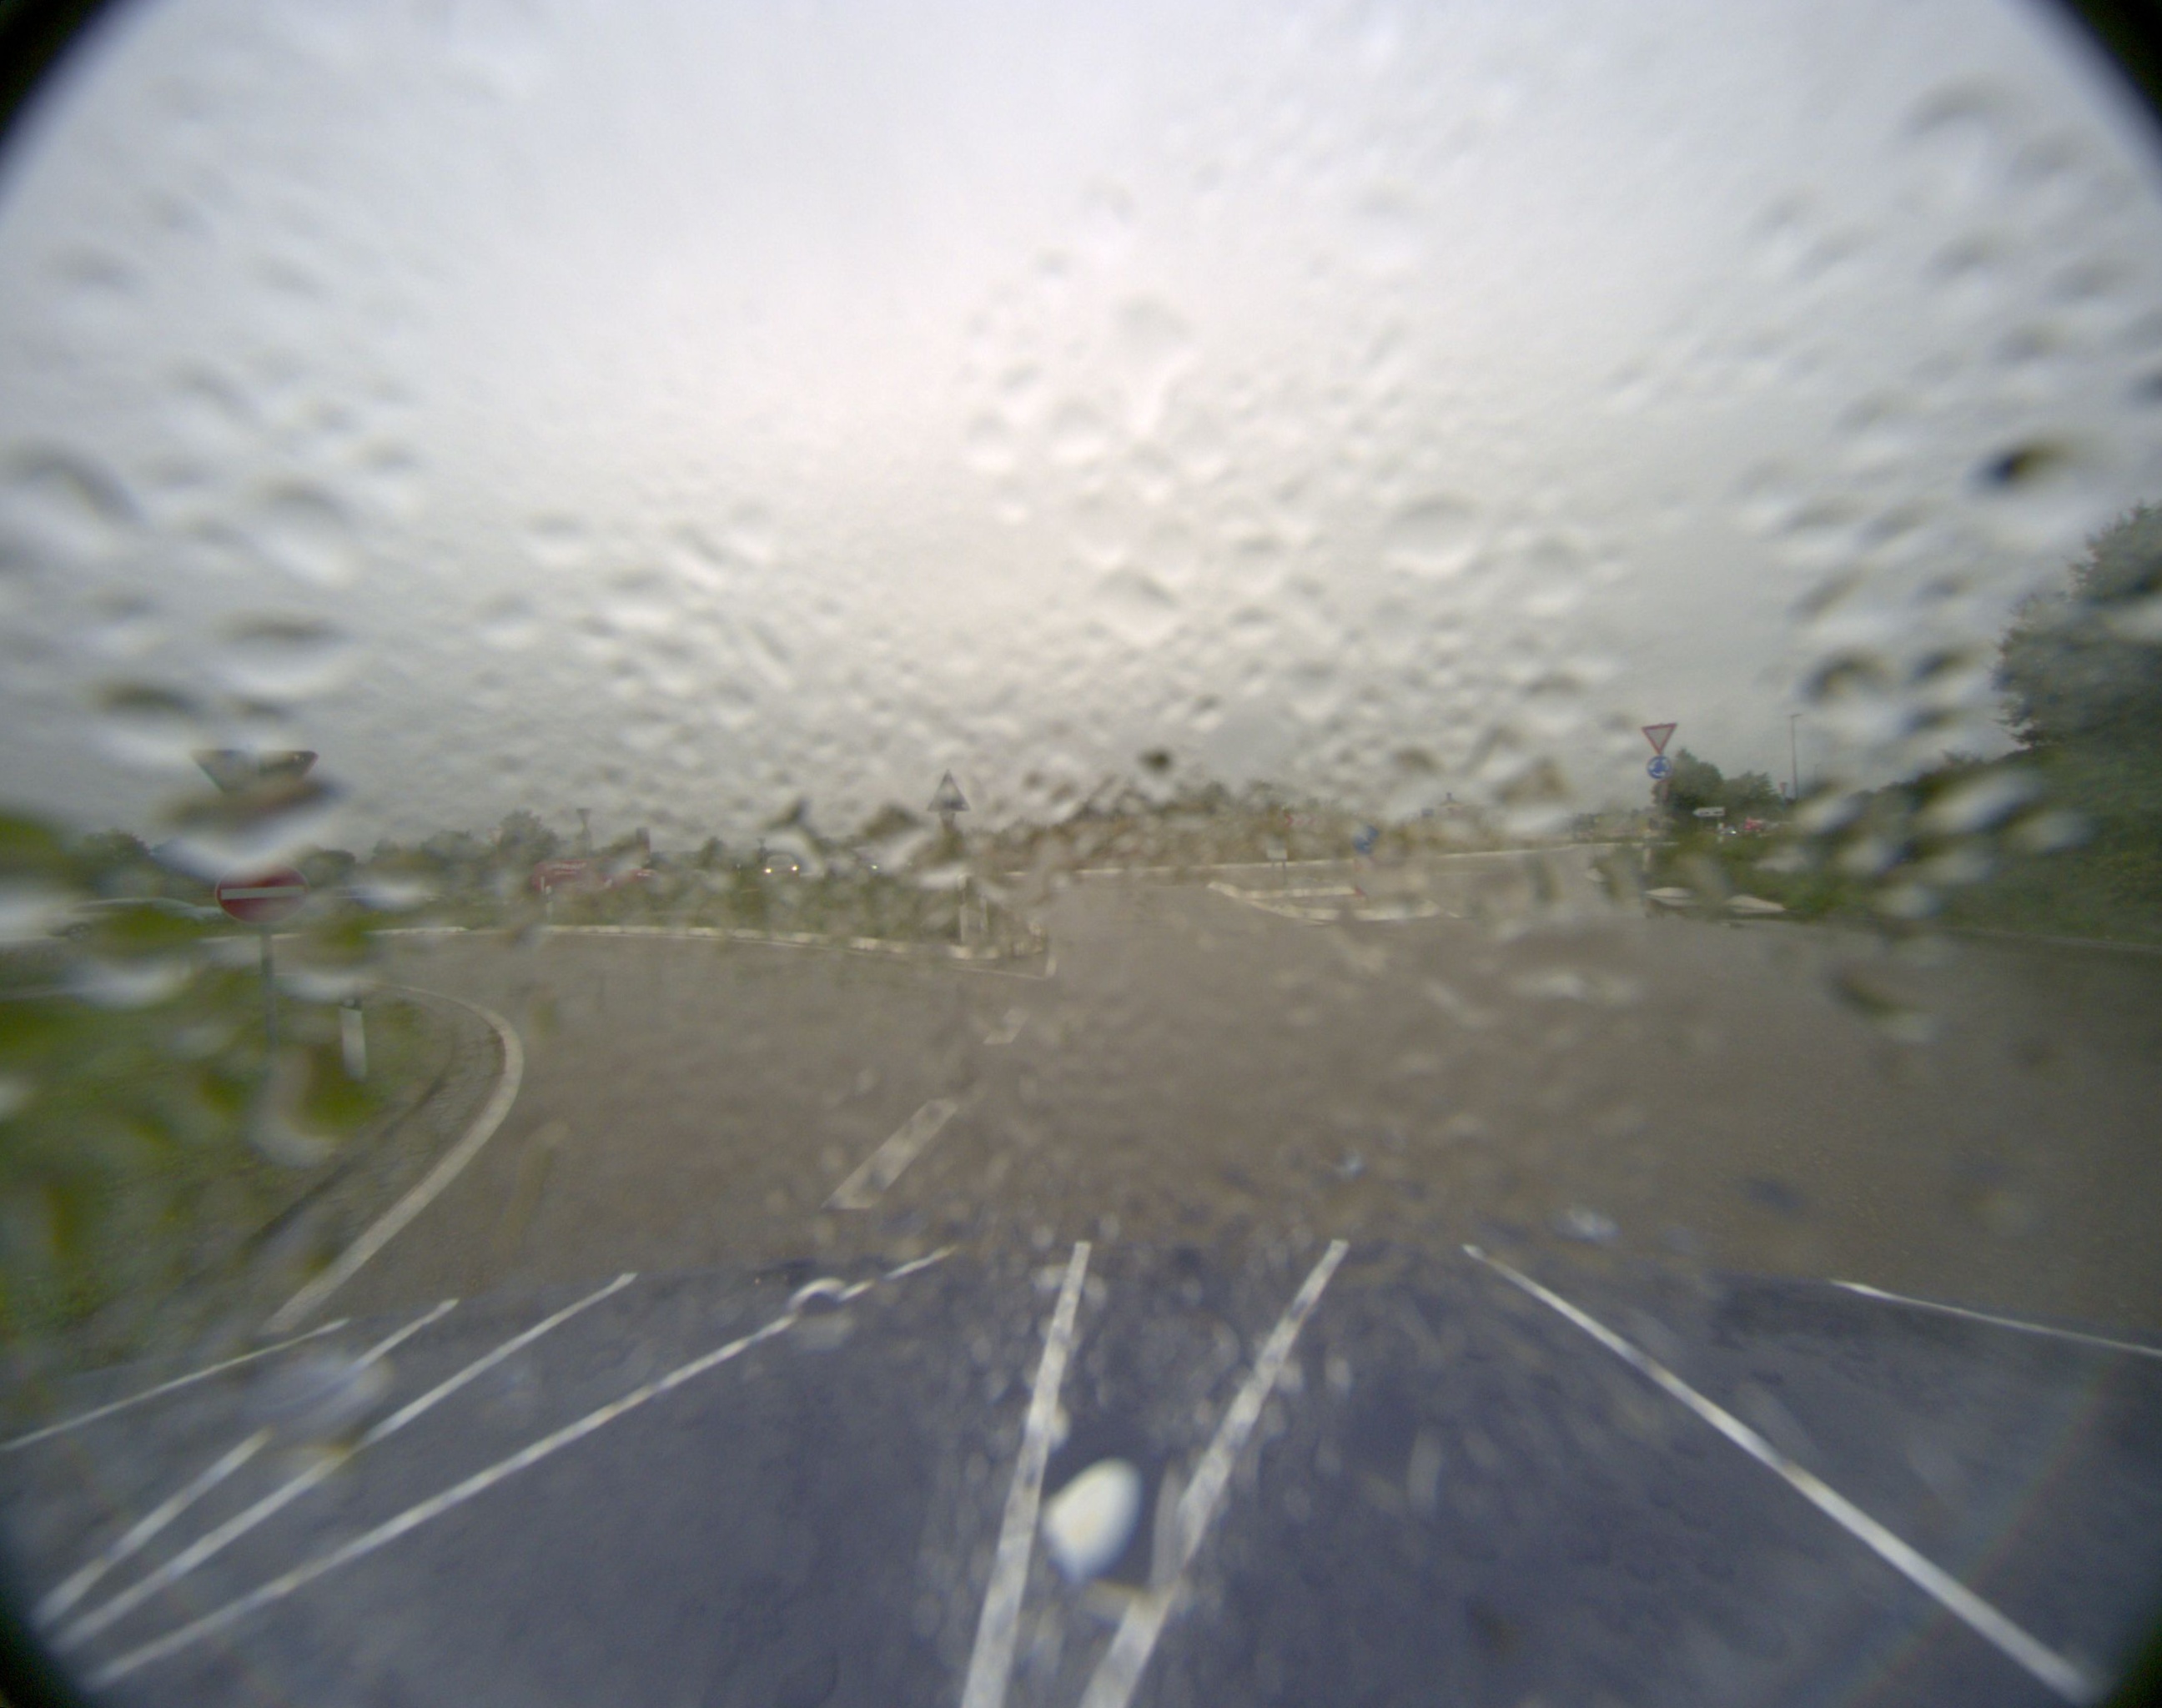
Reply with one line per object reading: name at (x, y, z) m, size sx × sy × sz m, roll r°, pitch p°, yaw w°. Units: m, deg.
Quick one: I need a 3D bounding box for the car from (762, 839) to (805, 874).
car at (-16.243, 0.101, 41.683) m, size 1.827 × 1.582 × 3.992 m, roll -6°, pitch 4°, yaw -18°

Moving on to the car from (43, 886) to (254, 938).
car at (-35.574, 2.169, 29.193) m, size 4.666 × 1.473 × 1.996 m, roll -3°, pitch 3°, yaw -22°

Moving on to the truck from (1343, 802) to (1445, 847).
truck at (28.333, -2.592, 69.234) m, size 3.122 × 3.577 × 8.155 m, roll -3°, pitch 1°, yaw -33°

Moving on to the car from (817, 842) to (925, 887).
car at (-8.445, 0.415, 30.383) m, size 4.487 × 1.566 × 2.003 m, roll -1°, pitch 4°, yaw 43°

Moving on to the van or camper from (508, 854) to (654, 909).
van or camper at (-21.986, 1.162, 33.606) m, size 4.846 × 2.003 × 1.997 m, roll -3°, pitch 3°, yaw -8°

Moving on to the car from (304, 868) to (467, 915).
car at (-28.891, 1.520, 31.763) m, size 4.528 × 1.594 × 1.997 m, roll -3°, pitch 0°, yaw -20°

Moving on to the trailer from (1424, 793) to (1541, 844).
trailer at (32.029, -2.723, 61.154) m, size 3.101 × 3.593 × 8.848 m, roll -3°, pitch 0°, yaw -14°
